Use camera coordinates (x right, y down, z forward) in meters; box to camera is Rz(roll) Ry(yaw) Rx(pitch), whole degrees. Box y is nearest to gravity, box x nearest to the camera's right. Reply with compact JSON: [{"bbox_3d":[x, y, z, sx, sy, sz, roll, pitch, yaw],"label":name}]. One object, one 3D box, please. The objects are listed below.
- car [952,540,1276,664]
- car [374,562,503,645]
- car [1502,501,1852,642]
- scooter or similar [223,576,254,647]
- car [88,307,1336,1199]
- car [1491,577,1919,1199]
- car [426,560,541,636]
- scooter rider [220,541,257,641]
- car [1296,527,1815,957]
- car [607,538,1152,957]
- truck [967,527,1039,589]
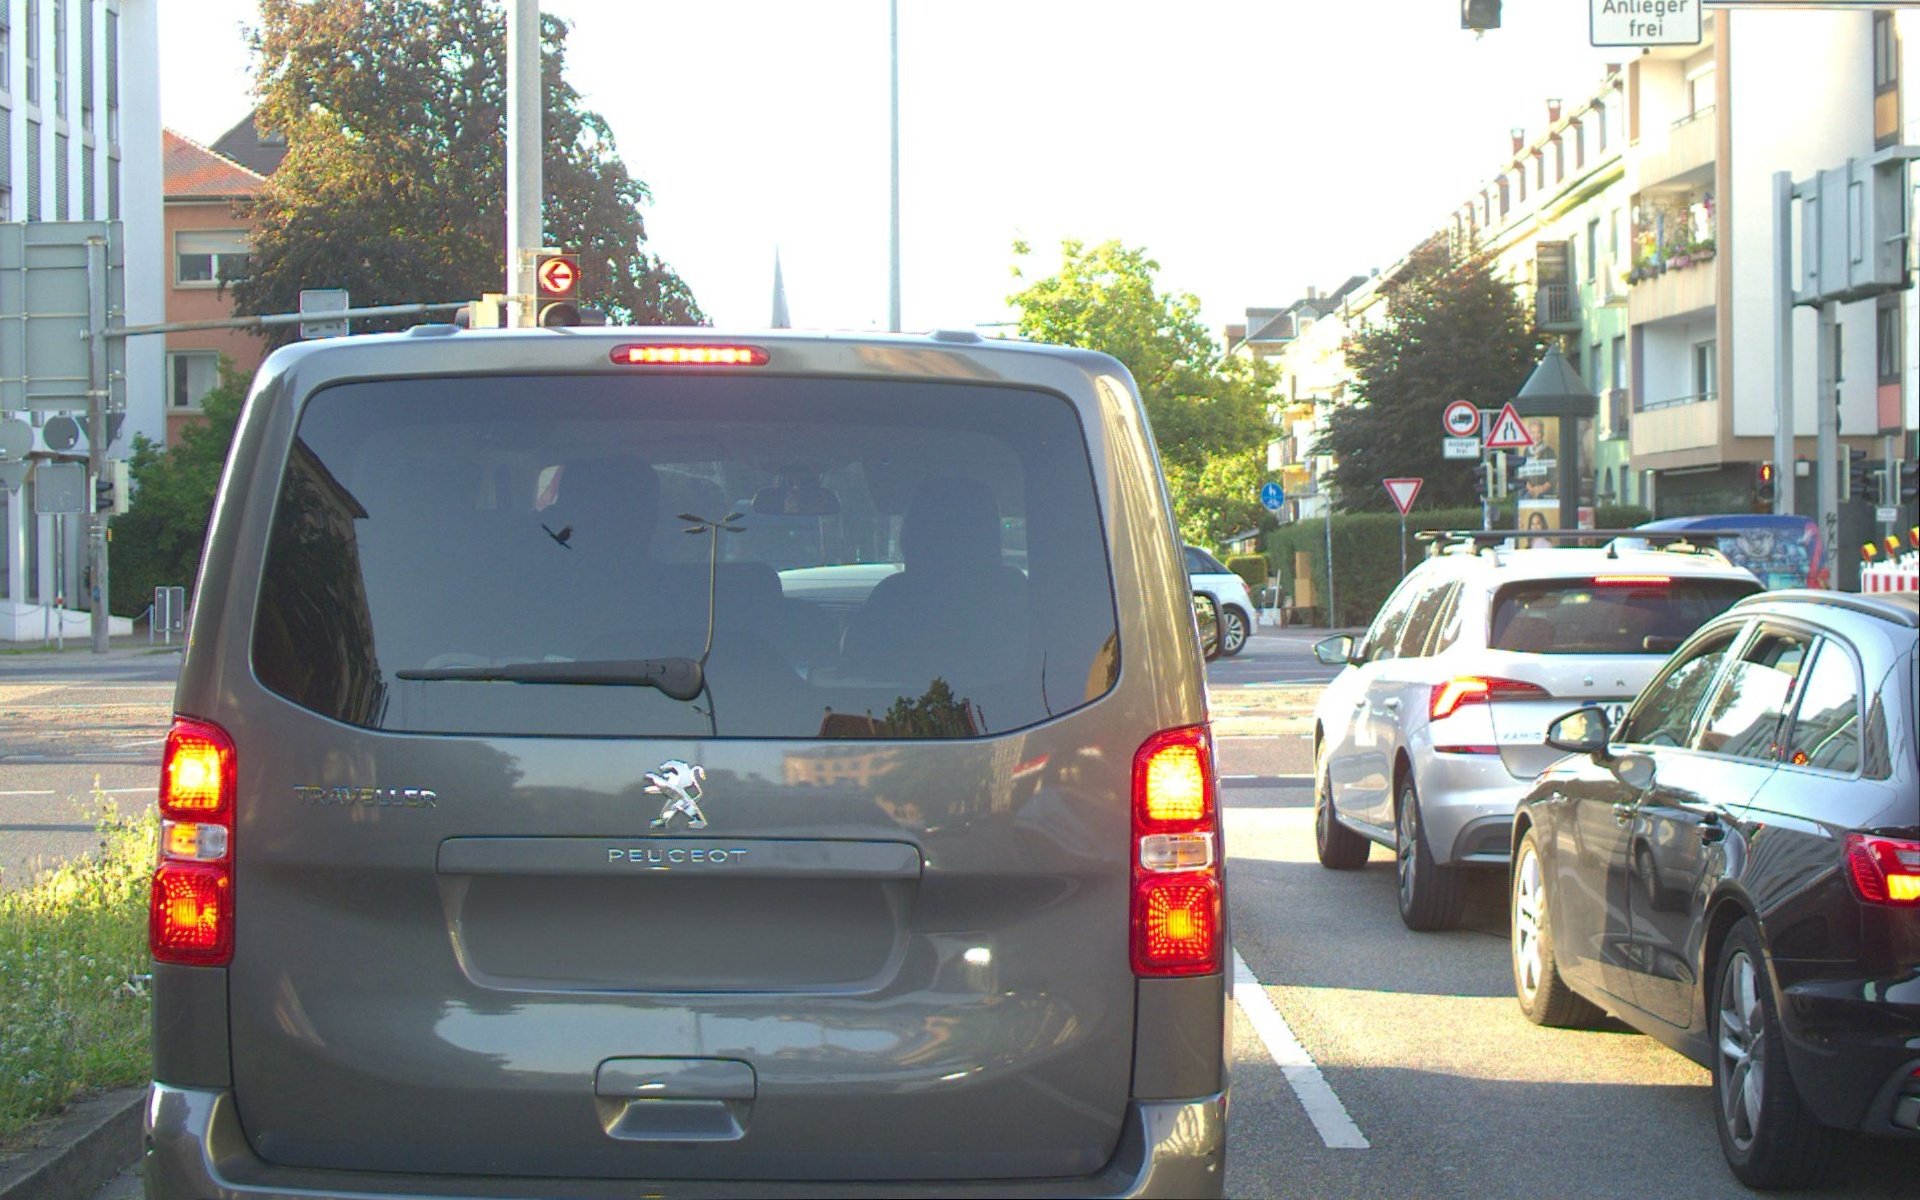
[{"bbox_3d":[1.916,0.012,42.358,3.675,1.383,1.696,-2,1,-35],"label":"car"},{"bbox_3d":[-9.450,0.045,62.552,1.856,1.415,4.000,-1,1,-2],"label":"car"},{"bbox_3d":[9.701,-0.405,46.526,4.214,1.811,2.001,-1,1,-21],"label":"car"},{"bbox_3d":[-12.260,0.191,58.431,0.285,1.184,1.169,0,1,-1],"label":"scooter or similar"},{"bbox_3d":[-0.414,0.455,7.582,1.907,1.857,4.527,1,1,-1],"label":"car"},{"bbox_3d":[2.628,0.681,9.217,1.681,1.416,4.214,1,1,-1],"label":"car"},{"bbox_3d":[-9.413,-0.066,68.126,1.856,1.415,4.000,-1,1,-2],"label":"car"},{"bbox_3d":[-12.255,-0.161,58.381,0.481,1.691,0.636,0,1,-1],"label":"scooter rider"},{"bbox_3d":[2.440,0.508,14.907,1.528,1.608,3.745,1,1,-1],"label":"car"},{"bbox_3d":[-0.319,0.508,14.634,1.993,1.525,4.000,0,1,-1],"label":"car"},{"bbox_3d":[1.536,-1.483,120.182,2.128,2.079,4.630,-1,1,5],"label":"truck"}]
